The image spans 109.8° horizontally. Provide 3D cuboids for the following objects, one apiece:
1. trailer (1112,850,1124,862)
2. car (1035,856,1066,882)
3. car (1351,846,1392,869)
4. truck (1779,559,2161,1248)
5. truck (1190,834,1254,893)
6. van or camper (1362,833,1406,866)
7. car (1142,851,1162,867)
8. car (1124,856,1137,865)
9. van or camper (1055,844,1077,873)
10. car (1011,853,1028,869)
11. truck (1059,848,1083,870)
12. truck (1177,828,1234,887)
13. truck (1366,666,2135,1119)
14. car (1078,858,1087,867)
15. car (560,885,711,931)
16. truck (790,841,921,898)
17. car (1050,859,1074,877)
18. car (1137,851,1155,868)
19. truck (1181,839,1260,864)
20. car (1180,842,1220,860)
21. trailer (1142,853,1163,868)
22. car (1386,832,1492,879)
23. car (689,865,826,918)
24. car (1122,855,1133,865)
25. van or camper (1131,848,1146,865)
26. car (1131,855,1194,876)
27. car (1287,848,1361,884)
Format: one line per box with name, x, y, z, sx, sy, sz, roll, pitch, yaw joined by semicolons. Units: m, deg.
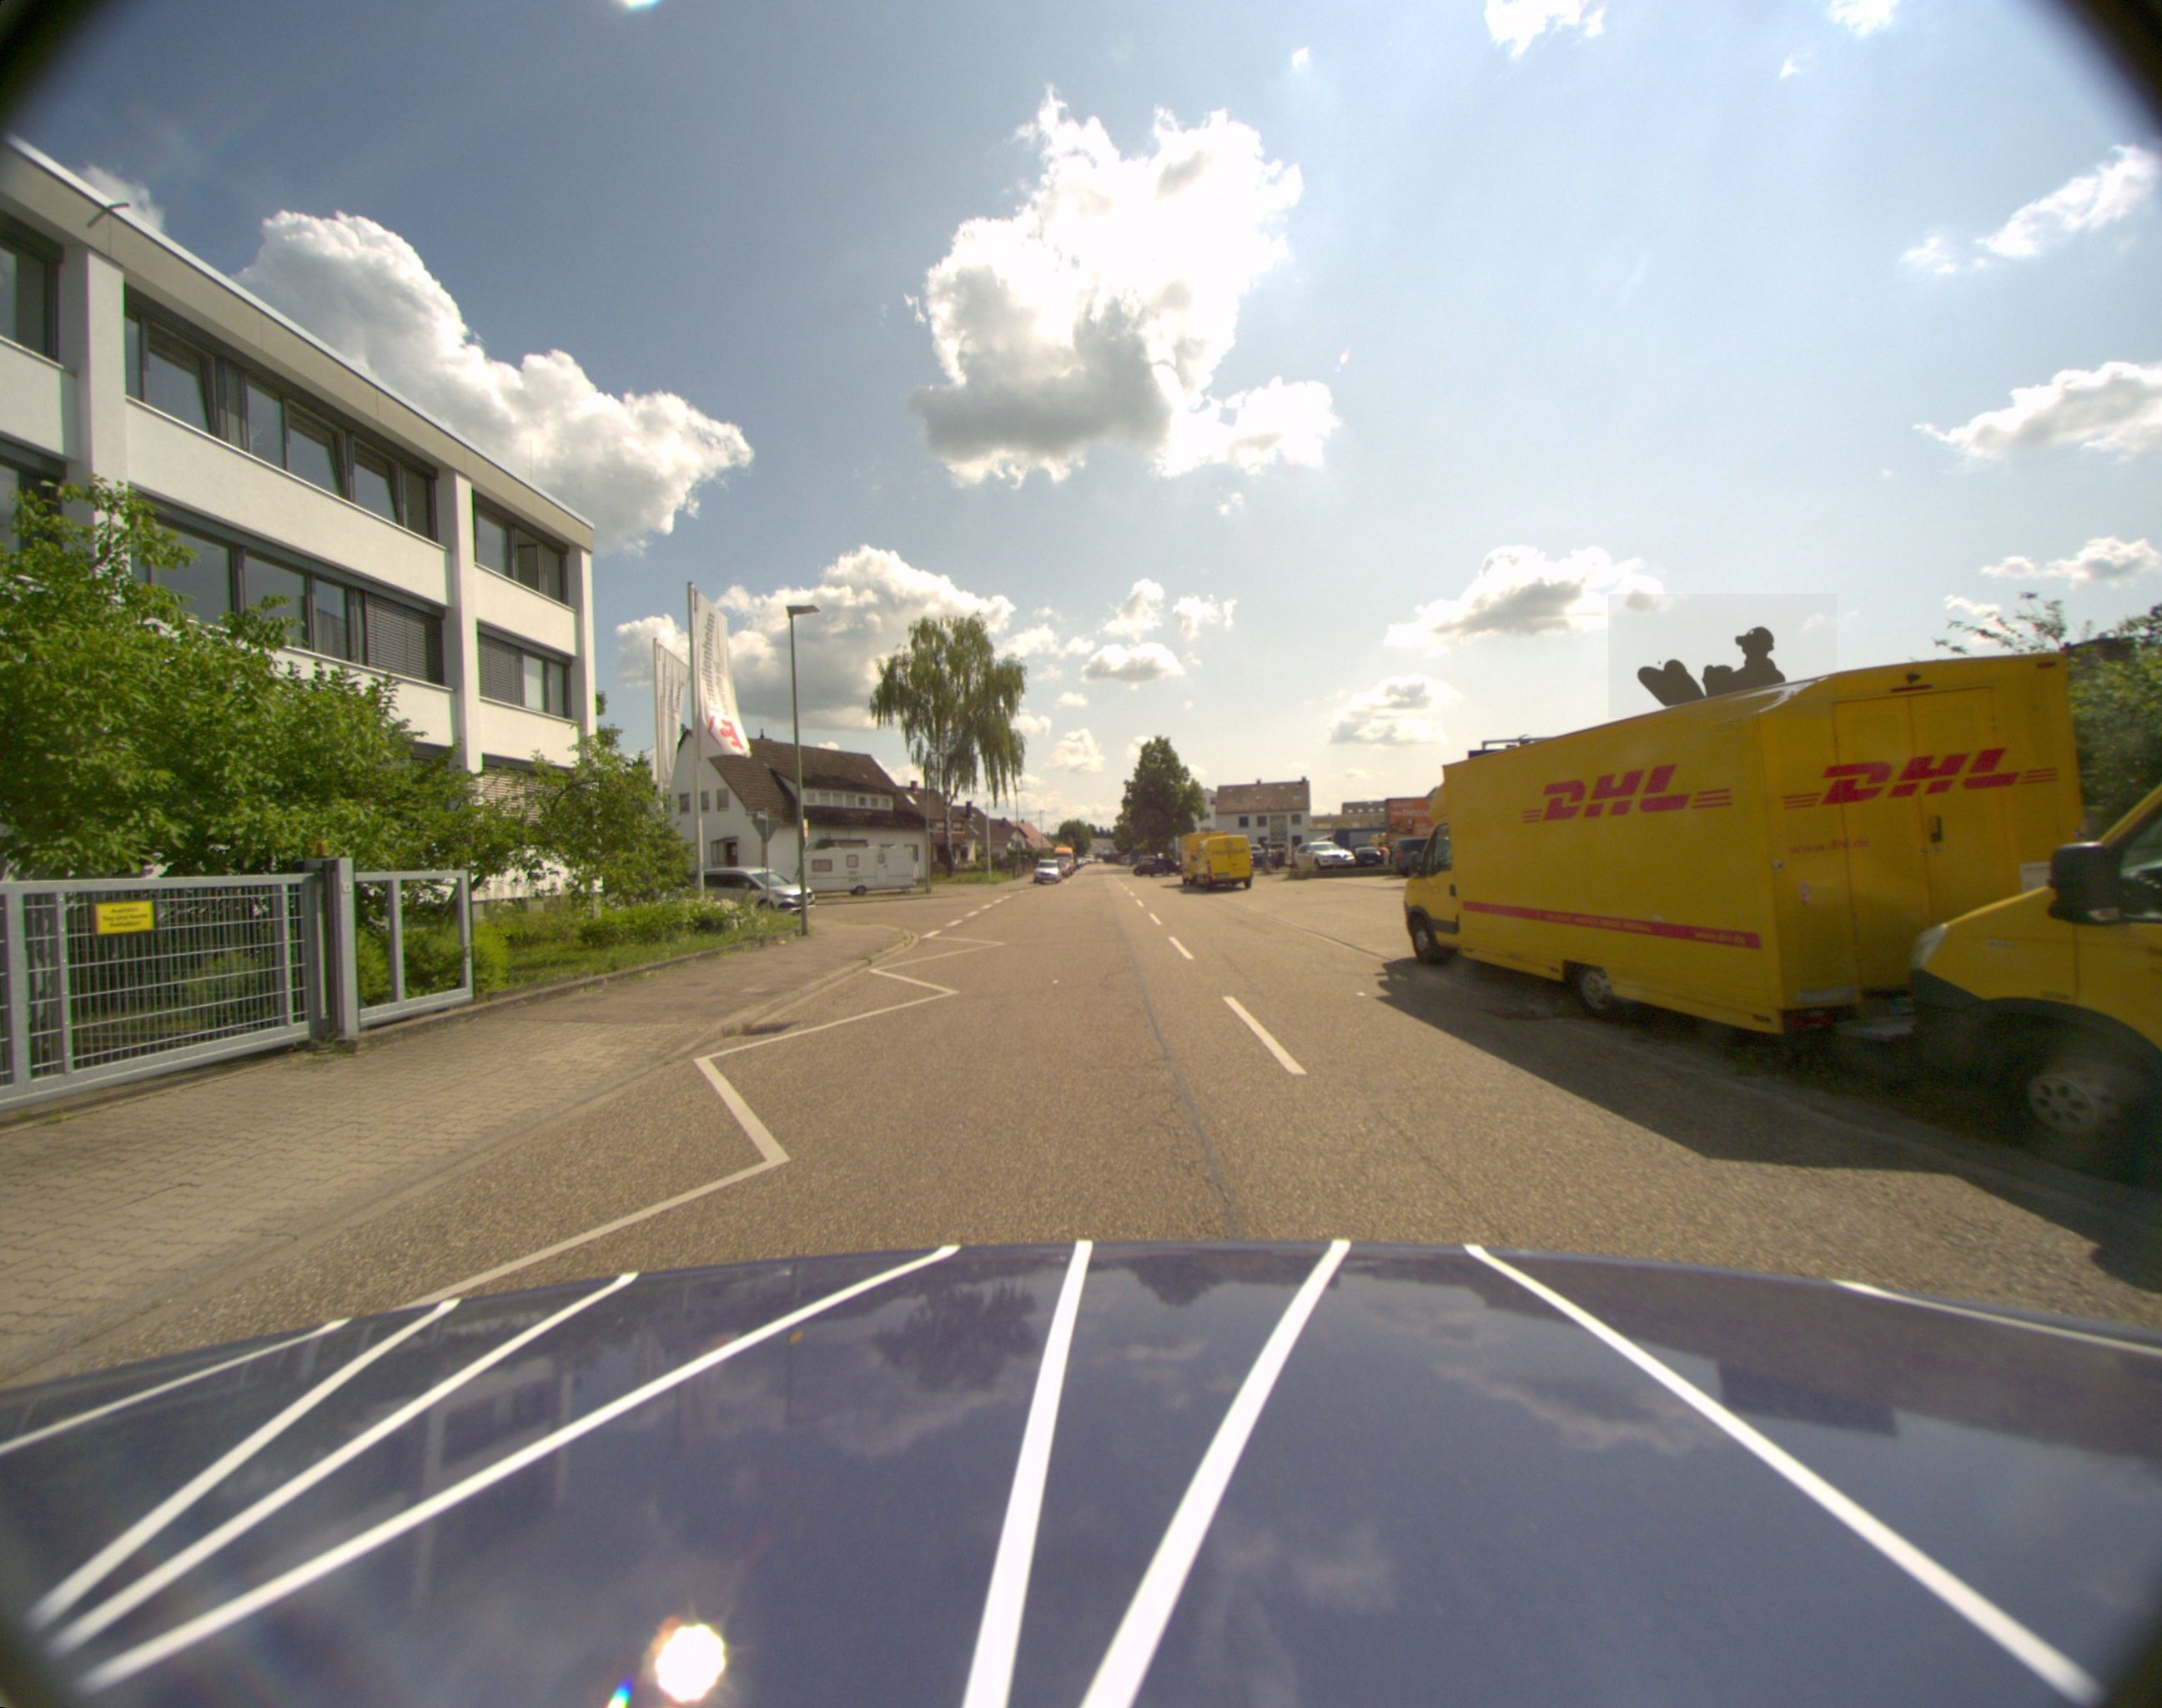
trailer;10.439;0.612;213.626;2.841;3.051;8.888;-2;0;-1
car;-1.978;0.992;50.871;1.614;1.571;4.001;-3;0;3
car;18.388;0.249;48.244;1.895;1.282;3.754;-2;-1;13
truck;5.556;0.150;1.192;2.322;2.846;7.104;-4;0;1
truck;6.400;0.409;35.150;1.998;2.399;6.065;-4;0;3
van or camper;23.970;-0.296;60.310;1.997;2.460;5.365;-2;-1;9
car;7.501;0.501;80.387;1.837;1.519;4.238;-4;0;3
car;8.878;1.132;137.207;1.753;1.452;4.709;-5;-1;-1
van or camper;-1.465;0.425;74.350;1.999;2.648;5.769;-2;0;0
car;-7.395;0.801;91.151;1.862;1.855;5.019;-2;0;-3
truck;-1.154;0.562;90.495;2.528;2.286;5.895;-4;0;2
truck;6.777;0.178;42.211;2.225;2.840;7.070;-4;0;3
truck;5.720;0.240;8.545;2.274;2.838;7.174;-3;0;1
car;0.433;1.856;167.390;1.896;1.763;4.709;-2;0;1
car;-16.789;2.025;28.762;4.623;1.419;1.759;-2;2;3
truck;-11.638;0.761;39.216;6.066;2.562;2.561;-3;0;-25
car;-1.524;1.149;62.062;1.673;1.327;4.438;-2;0;1
car;7.315;0.604;85.883;1.697;1.690;4.400;-4;0;1
truck;17.025;-0.274;93.100;9.277;2.839;2.722;-1;0;6
car;15.801;-0.401;100.830;5.008;2.219;2.002;-2;1;14
trailer;7.101;0.633;75.742;1.766;1.282;4.508;-5;0;2
car;16.175;0.085;34.560;3.935;1.799;1.857;-4;0;11
car;-11.672;1.354;27.454;4.400;1.742;1.867;-2;1;20
car;8.771;1.106;143.349;1.814;1.795;4.491;-5;0;1
van or camper;8.550;0.405;113.583;1.998;2.303;5.935;-5;0;4
car;6.422;0.929;60.377;4.581;1.386;2.004;-4;0;43
car;12.690;0.603;39.974;1.834;1.695;4.704;-2;0;-7
